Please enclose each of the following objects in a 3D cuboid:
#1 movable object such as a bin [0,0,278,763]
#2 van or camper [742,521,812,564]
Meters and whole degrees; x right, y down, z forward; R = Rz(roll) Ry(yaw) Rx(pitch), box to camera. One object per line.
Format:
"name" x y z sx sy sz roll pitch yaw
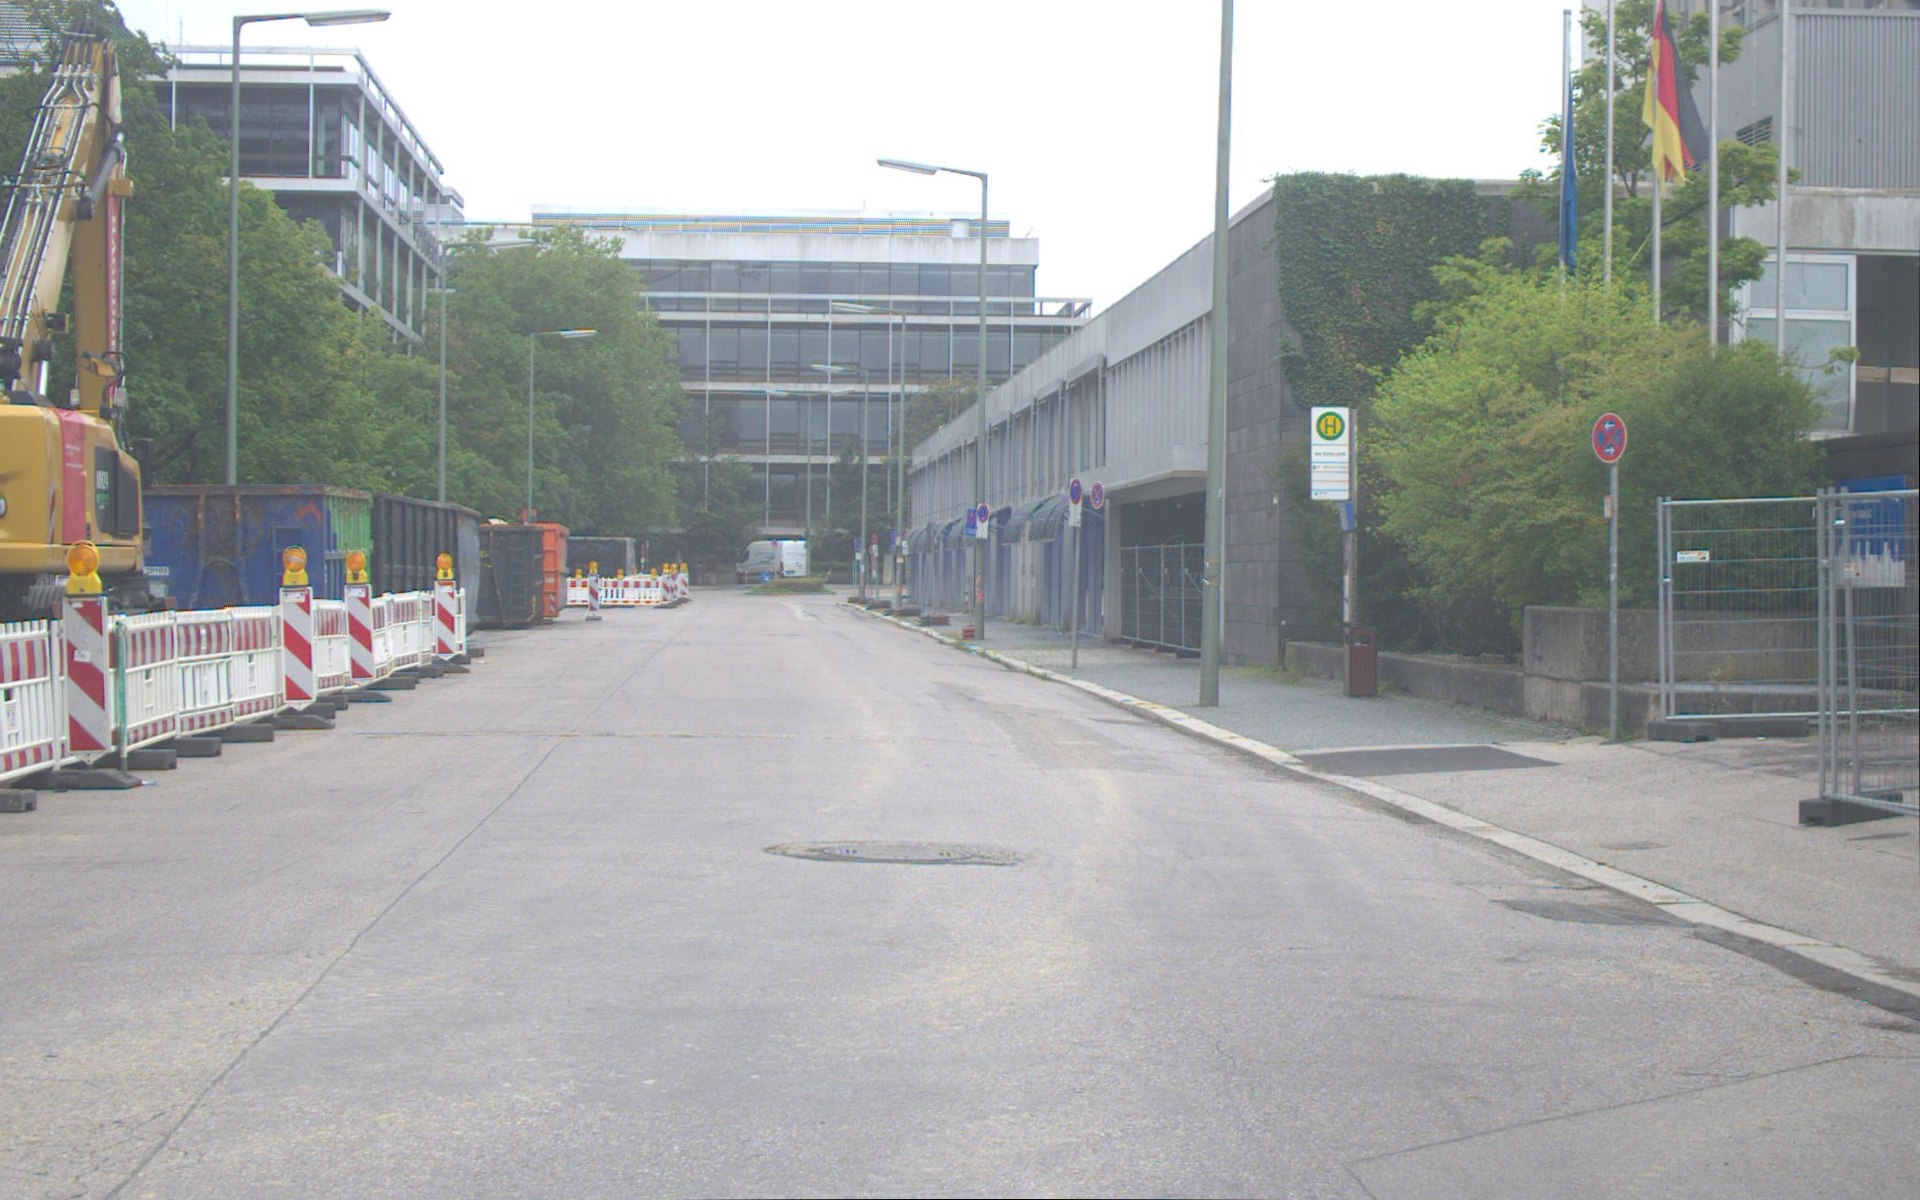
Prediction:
"movable object such as a bin" -8.223 -2.162 30.127 2.904 6.542 11.786 1 0 -4
"van or camper" -10.811 -3.411 203.175 2.085 2.483 5.068 1 1 -29
